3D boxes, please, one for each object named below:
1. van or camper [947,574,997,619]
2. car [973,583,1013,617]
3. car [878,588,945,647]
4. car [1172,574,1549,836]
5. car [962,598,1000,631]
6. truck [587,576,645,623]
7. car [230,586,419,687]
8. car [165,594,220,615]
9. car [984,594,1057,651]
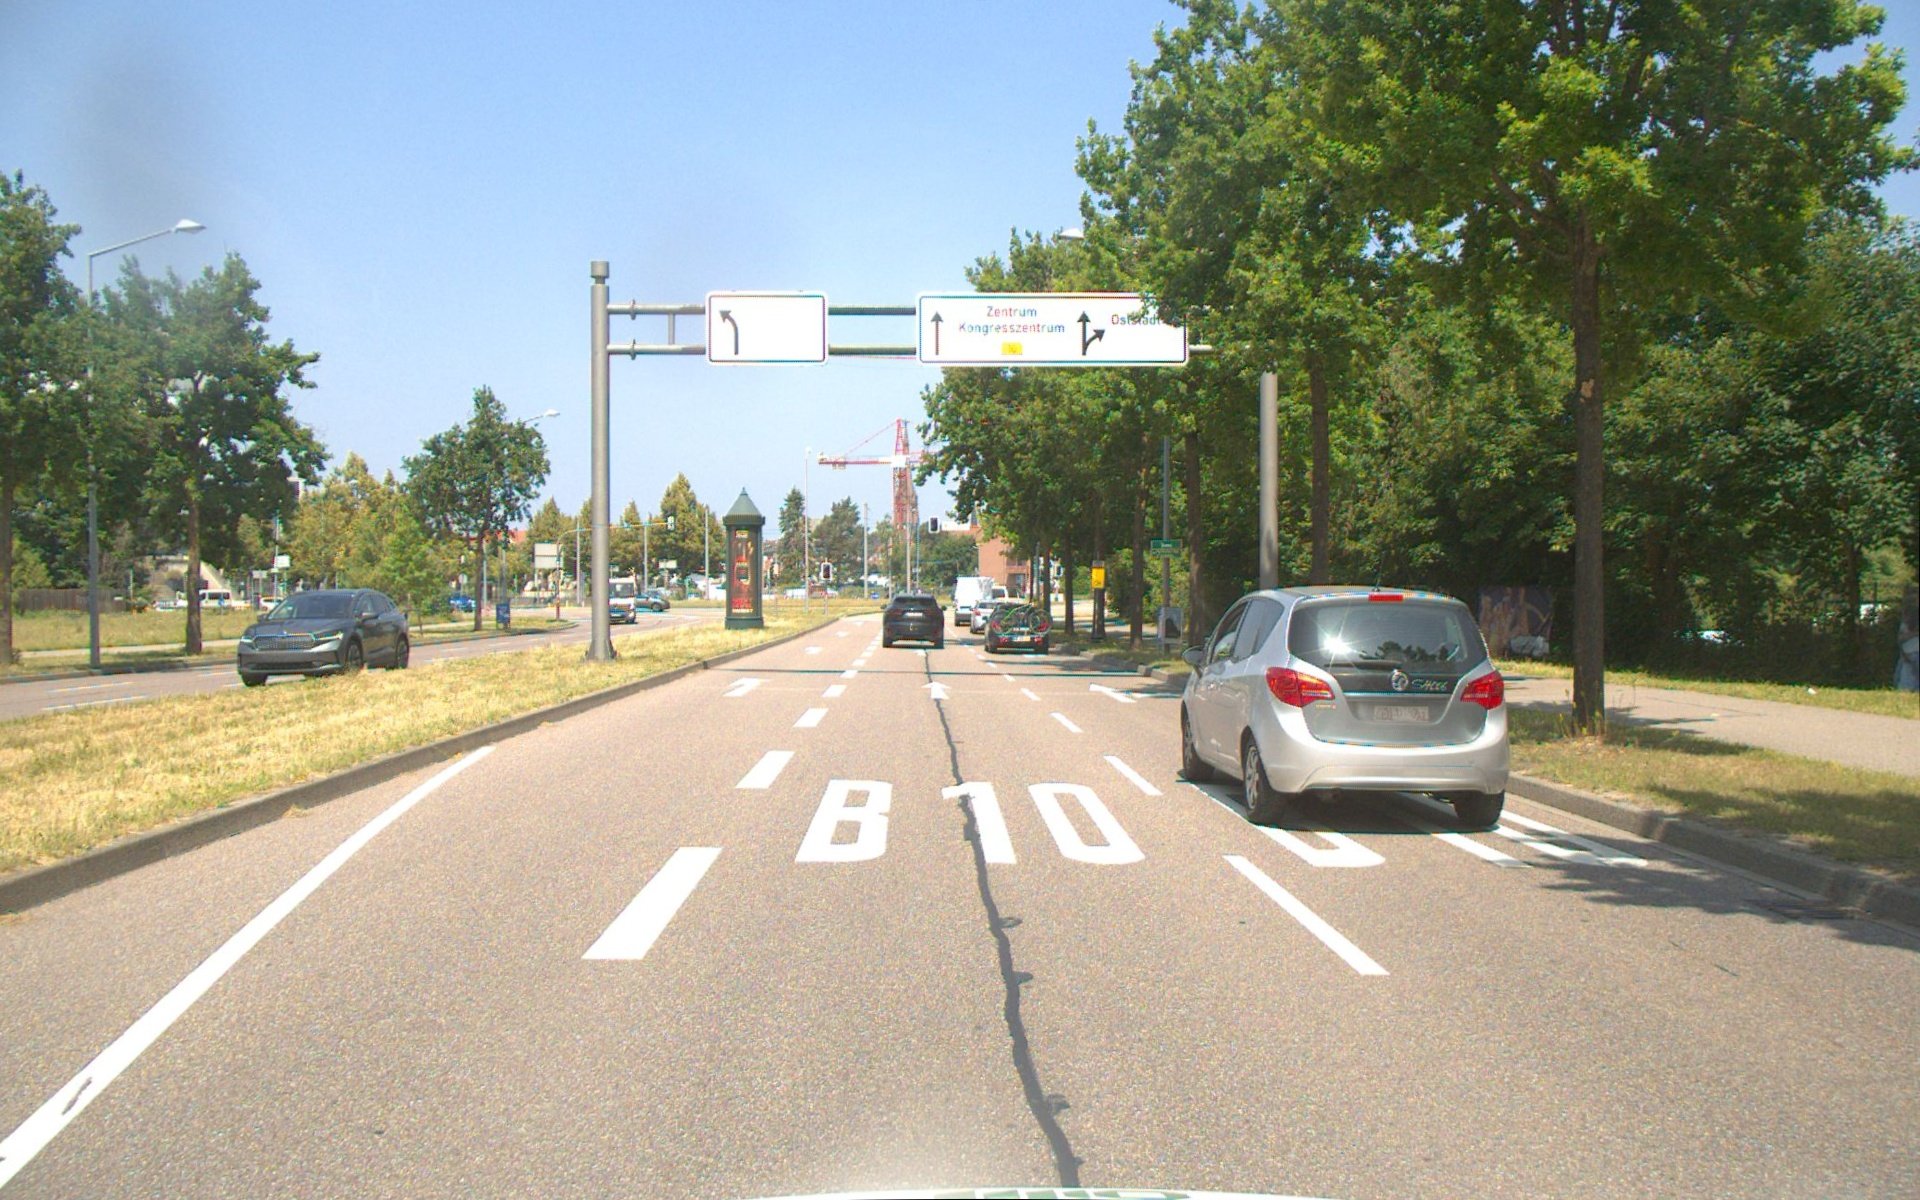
[{"bbox_3d":[0.596,-0.191,87.480,2.443,2.331,4.919,-1,0,-1],"label":"van or camper"},{"bbox_3d":[2.070,-0.026,102.501,1.951,2.049,4.003,0,0,9],"label":"car"},{"bbox_3d":[-1.478,0.504,51.864,1.957,1.719,4.033,1,1,0],"label":"car"},{"bbox_3d":[2.782,0.641,12.395,1.756,1.640,3.889,1,1,-2],"label":"car"},{"bbox_3d":[0.892,0.599,72.670,1.621,1.380,4.460,-1,0,0],"label":"car"},{"bbox_3d":[-19.726,-0.040,95.100,2.588,2.621,6.310,0,0,-6],"label":"truck"},{"bbox_3d":[-11.241,0.582,29.601,1.855,1.639,4.531,0,0,-4],"label":"car"},{"bbox_3d":[-70.145,0.406,151.268,1.955,1.911,4.284,0,0,28],"label":"car"},{"bbox_3d":[1.710,0.625,48.162,1.973,1.543,4.461,-1,0,0],"label":"car"}]
